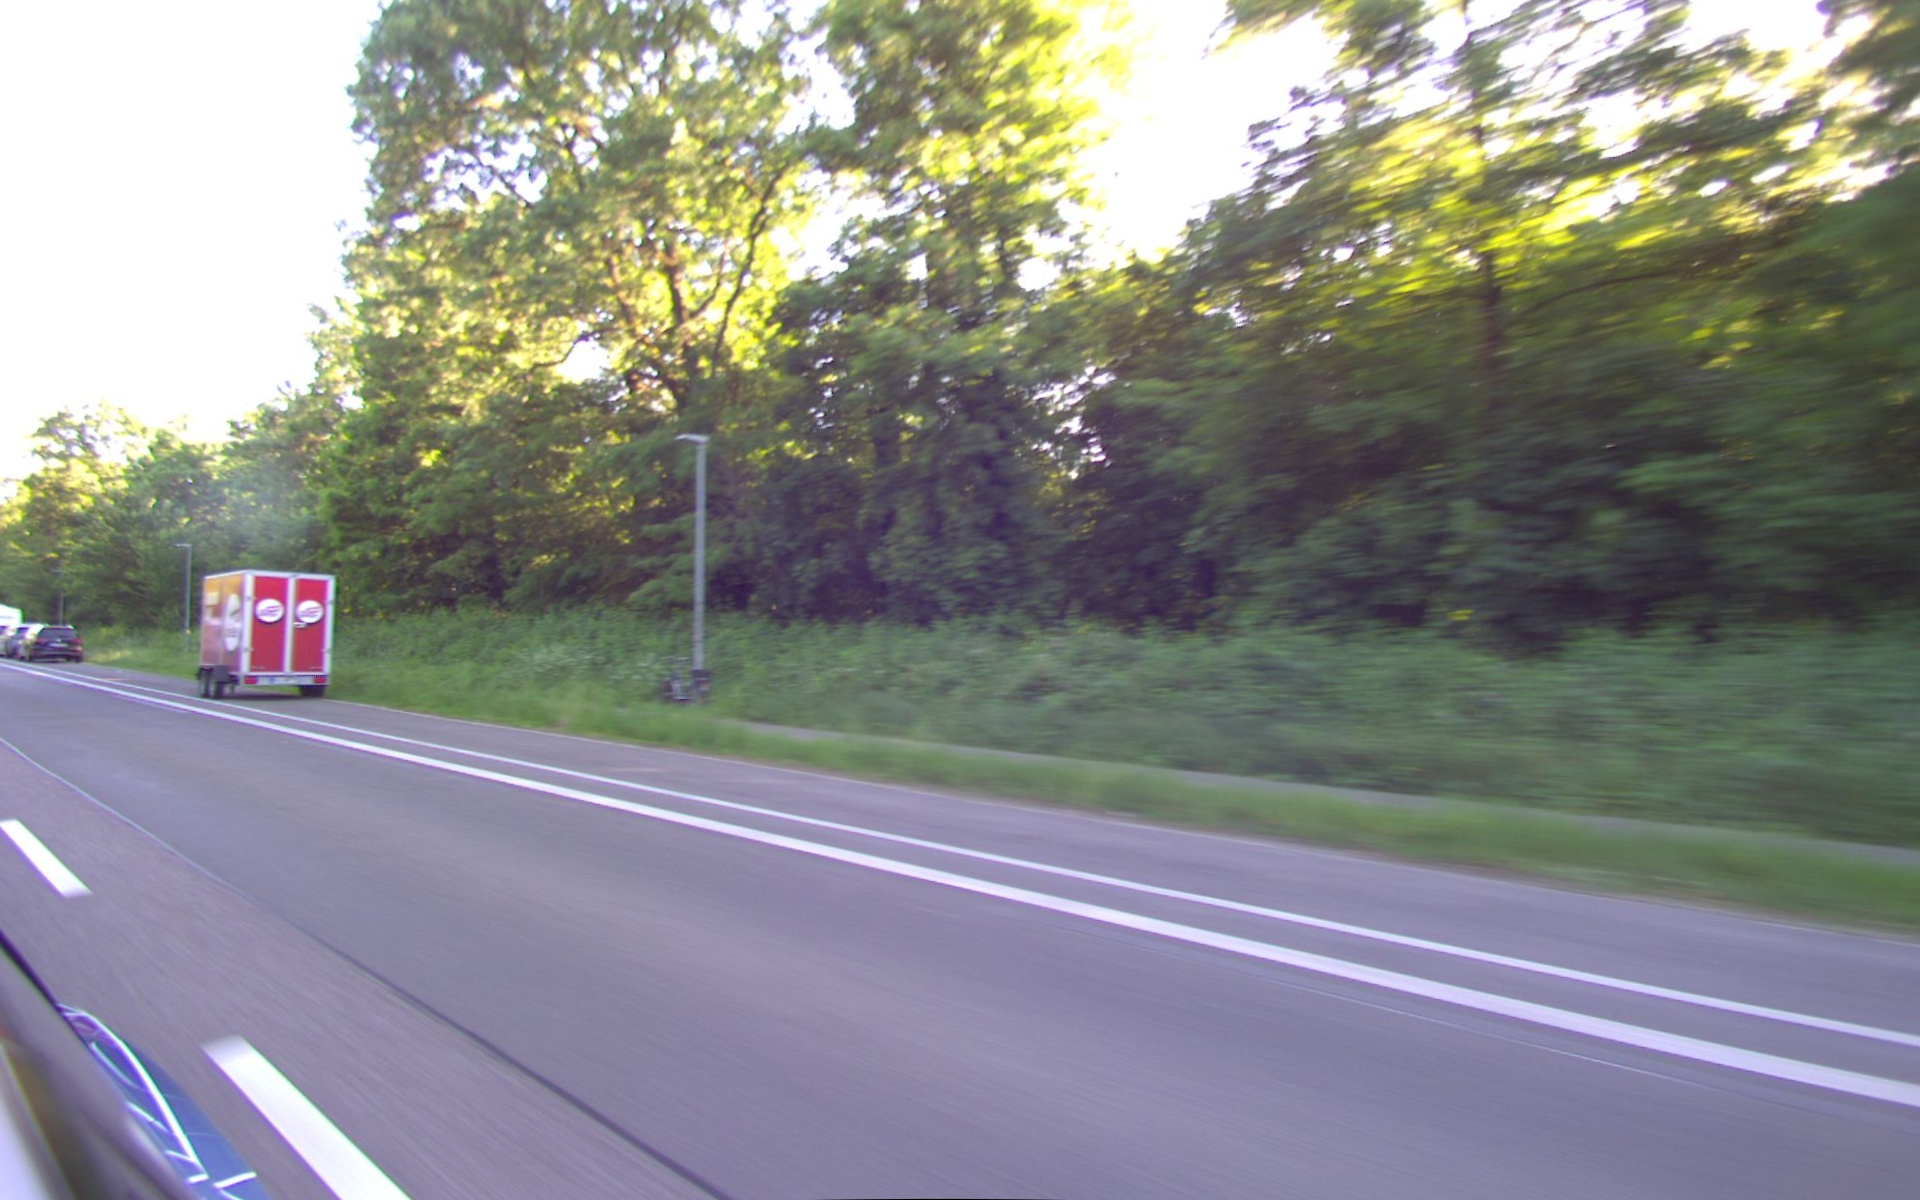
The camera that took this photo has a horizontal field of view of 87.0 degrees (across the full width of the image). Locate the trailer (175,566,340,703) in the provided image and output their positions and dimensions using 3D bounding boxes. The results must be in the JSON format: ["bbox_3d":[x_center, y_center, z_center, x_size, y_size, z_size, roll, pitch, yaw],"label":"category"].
[{"bbox_3d":[-15.068,0.718,21.647,4.084,2.641,1.973,-1,-2,41],"label":"trailer"}]

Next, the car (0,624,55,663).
[{"bbox_3d":[-42.016,1.922,45.255,5.125,1.586,1.653,-1,-5,41],"label":"car"}]

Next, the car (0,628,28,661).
[{"bbox_3d":[-46.752,2.117,49.189,4.192,1.506,1.653,-1,-5,41],"label":"car"}]

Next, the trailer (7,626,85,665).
[{"bbox_3d":[-36.848,1.798,40.778,4.464,1.477,1.822,-1,-1,41],"label":"trailer"}]

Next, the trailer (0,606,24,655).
[{"bbox_3d":[-51.559,1.613,53.513,4.338,2.548,2.324,-1,-2,38],"label":"trailer"}]
